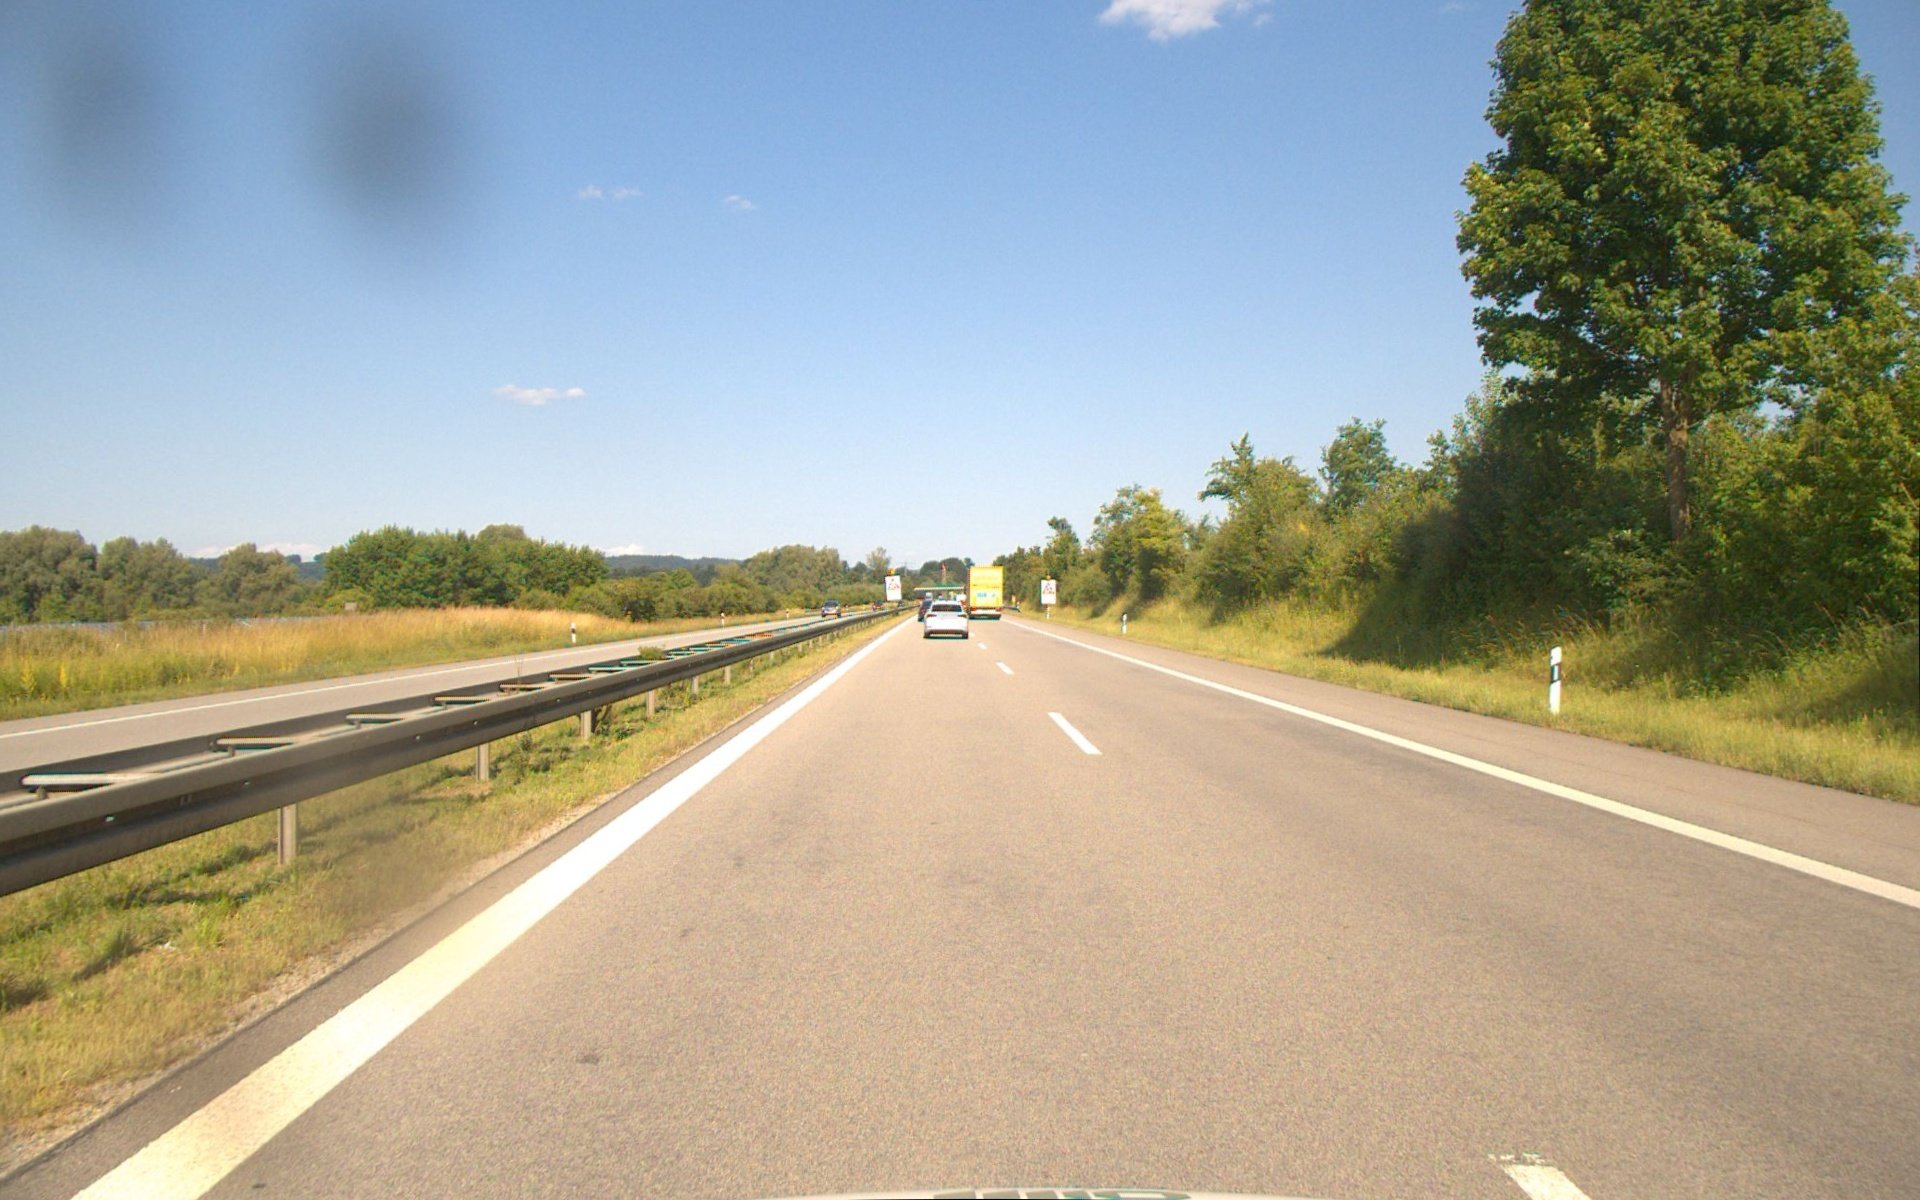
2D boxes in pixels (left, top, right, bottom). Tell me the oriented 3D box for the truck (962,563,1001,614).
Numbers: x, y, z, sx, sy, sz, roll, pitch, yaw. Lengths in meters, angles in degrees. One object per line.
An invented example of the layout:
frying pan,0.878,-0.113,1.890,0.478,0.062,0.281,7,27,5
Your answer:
truck,1.790,-0.950,140.668,3.104,4.186,6.386,1,0,-1

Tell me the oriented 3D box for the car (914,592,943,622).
car,-2.195,0.500,115.158,1.953,2.049,3.999,1,0,-1

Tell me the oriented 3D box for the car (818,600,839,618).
car,-13.777,0.939,173.091,1.863,1.712,4.730,-2,0,-1

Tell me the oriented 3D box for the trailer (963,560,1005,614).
trailer,1.847,-1.003,134.194,3.119,4.130,13.185,1,0,0

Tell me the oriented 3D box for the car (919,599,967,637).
car,-0.628,0.692,65.135,1.805,1.440,4.000,1,0,0
